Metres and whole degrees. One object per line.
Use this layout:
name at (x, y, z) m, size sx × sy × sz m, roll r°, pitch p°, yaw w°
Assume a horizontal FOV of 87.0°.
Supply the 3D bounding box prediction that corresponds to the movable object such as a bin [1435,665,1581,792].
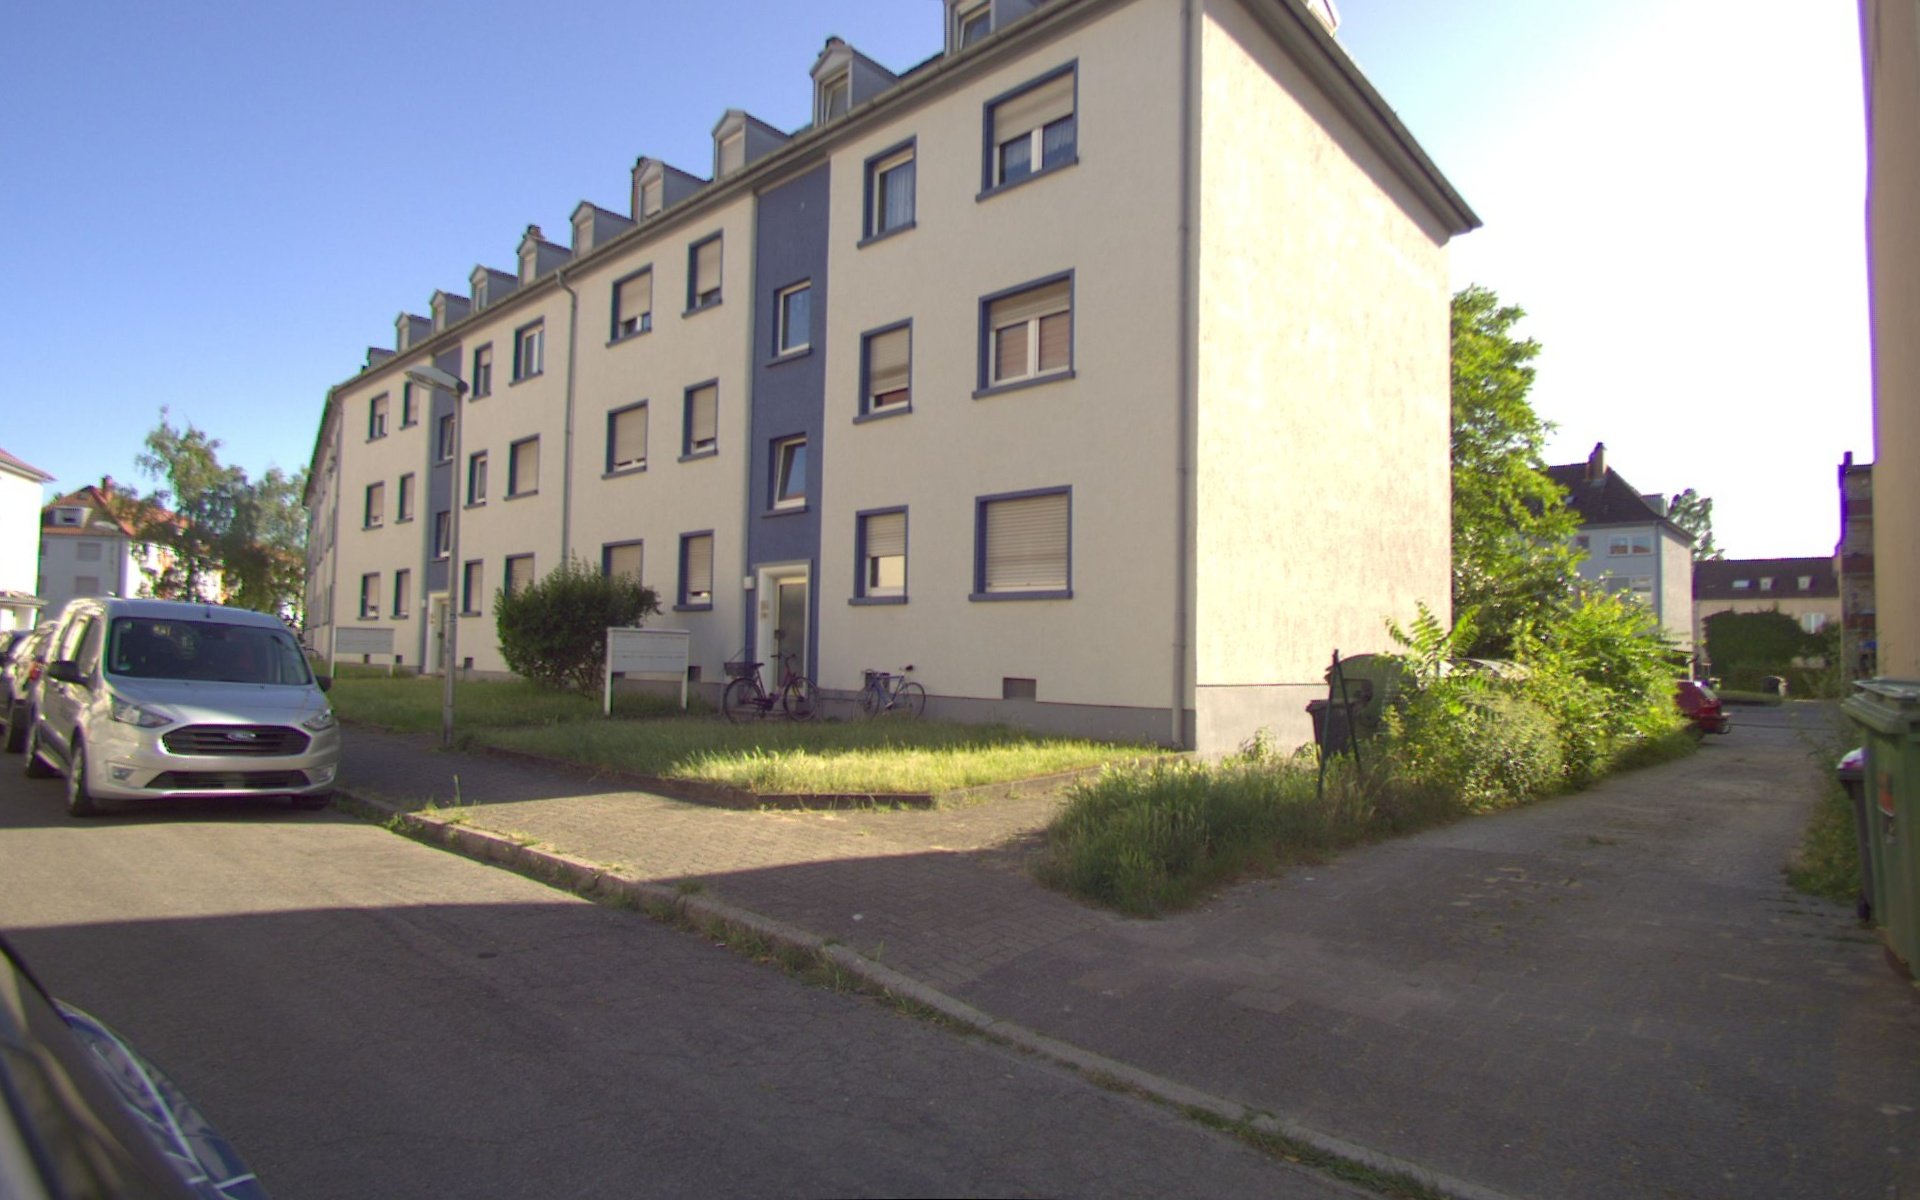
movable object such as a bin at (7.017, 1.594, 12.966) m, size 1.436 × 1.457 × 1.117 m, roll -1°, pitch -4°, yaw 42°

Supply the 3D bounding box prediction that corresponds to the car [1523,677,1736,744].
car at (15.532, 2.532, 23.611) m, size 3.998 × 1.321 × 1.467 m, roll -2°, pitch -6°, yaw 41°

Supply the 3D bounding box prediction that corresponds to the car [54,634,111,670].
car at (-44.070, 2.617, 50.869) m, size 1.615 × 1.653 × 3.657 m, roll 6°, pitch -6°, yaw -34°

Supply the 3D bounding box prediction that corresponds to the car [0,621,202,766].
car at (-11.558, 1.177, 13.230) m, size 4.162 × 1.603 × 1.656 m, roll -2°, pitch -8°, yaw 41°

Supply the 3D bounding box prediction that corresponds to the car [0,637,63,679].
car at (-37.432, 2.316, 40.603) m, size 1.615 × 1.559 × 3.657 m, roll 6°, pitch -6°, yaw -34°

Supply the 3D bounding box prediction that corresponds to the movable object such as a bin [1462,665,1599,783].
movable object such as a bin at (7.797, 1.654, 13.827) m, size 1.436 × 1.457 × 1.117 m, roll -1°, pitch -4°, yaw 42°

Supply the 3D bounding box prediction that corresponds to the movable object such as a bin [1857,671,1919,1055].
movable object such as a bin at (4.250, 0.998, 3.966) m, size 1.044 × 1.387 × 1.242 m, roll -2°, pitch -3°, yaw 41°

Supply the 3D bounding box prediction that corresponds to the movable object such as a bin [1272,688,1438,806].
movable object such as a bin at (3.894, 1.401, 9.968) m, size 1.203 × 1.007 × 1.117 m, roll -1°, pitch -4°, yaw 42°

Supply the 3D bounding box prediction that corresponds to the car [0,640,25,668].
car at (-51.837, 2.851, 53.956) m, size 1.728 × 1.440 × 4.480 m, roll 4°, pitch -5°, yaw -28°

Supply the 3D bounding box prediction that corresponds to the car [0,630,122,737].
car at (-15.111, 1.317, 16.453) m, size 3.701 × 1.530 × 1.626 m, roll -2°, pitch -8°, yaw 42°

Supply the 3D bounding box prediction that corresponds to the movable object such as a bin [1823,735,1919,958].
movable object such as a bin at (4.781, 1.219, 5.126) m, size 0.591 × 0.982 × 0.764 m, roll -2°, pitch -3°, yaw 41°

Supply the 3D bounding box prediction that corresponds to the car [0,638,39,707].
car at (-22.733, 1.583, 23.252) m, size 4.396 × 1.470 × 1.879 m, roll -2°, pitch -7°, yaw 43°

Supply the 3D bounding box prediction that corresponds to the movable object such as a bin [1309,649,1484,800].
movable object such as a bin at (4.681, 1.286, 10.851) m, size 1.436 × 1.444 × 1.117 m, roll -1°, pitch -4°, yaw 42°

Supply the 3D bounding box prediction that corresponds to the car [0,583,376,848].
car at (-7.345, 0.944, 9.382) m, size 4.947 × 1.844 × 1.780 m, roll -2°, pitch -7°, yaw 42°

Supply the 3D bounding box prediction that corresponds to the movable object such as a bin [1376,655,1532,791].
movable object such as a bin at (5.934, 1.429, 12.169) m, size 1.436 × 1.468 × 1.117 m, roll -1°, pitch -4°, yaw 42°

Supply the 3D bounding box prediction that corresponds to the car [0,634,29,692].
car at (-27.343, 1.714, 28.304) m, size 1.721 × 1.528 × 3.986 m, roll 8°, pitch -7°, yaw -43°

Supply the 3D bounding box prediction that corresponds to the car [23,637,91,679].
car at (-40.470, 2.625, 45.423) m, size 1.615 × 1.715 × 3.657 m, roll 6°, pitch -6°, yaw -33°

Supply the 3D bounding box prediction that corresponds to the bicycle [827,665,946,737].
bicycle at (-1.143, 1.502, 15.372) m, size 2.074 × 0.969 × 0.493 m, roll -2°, pitch -1°, yaw 43°

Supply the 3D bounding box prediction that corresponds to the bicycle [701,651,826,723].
bicycle at (-3.058, 1.335, 15.943) m, size 0.500 × 0.969 × 2.046 m, roll -2°, pitch -1°, yaw 41°
